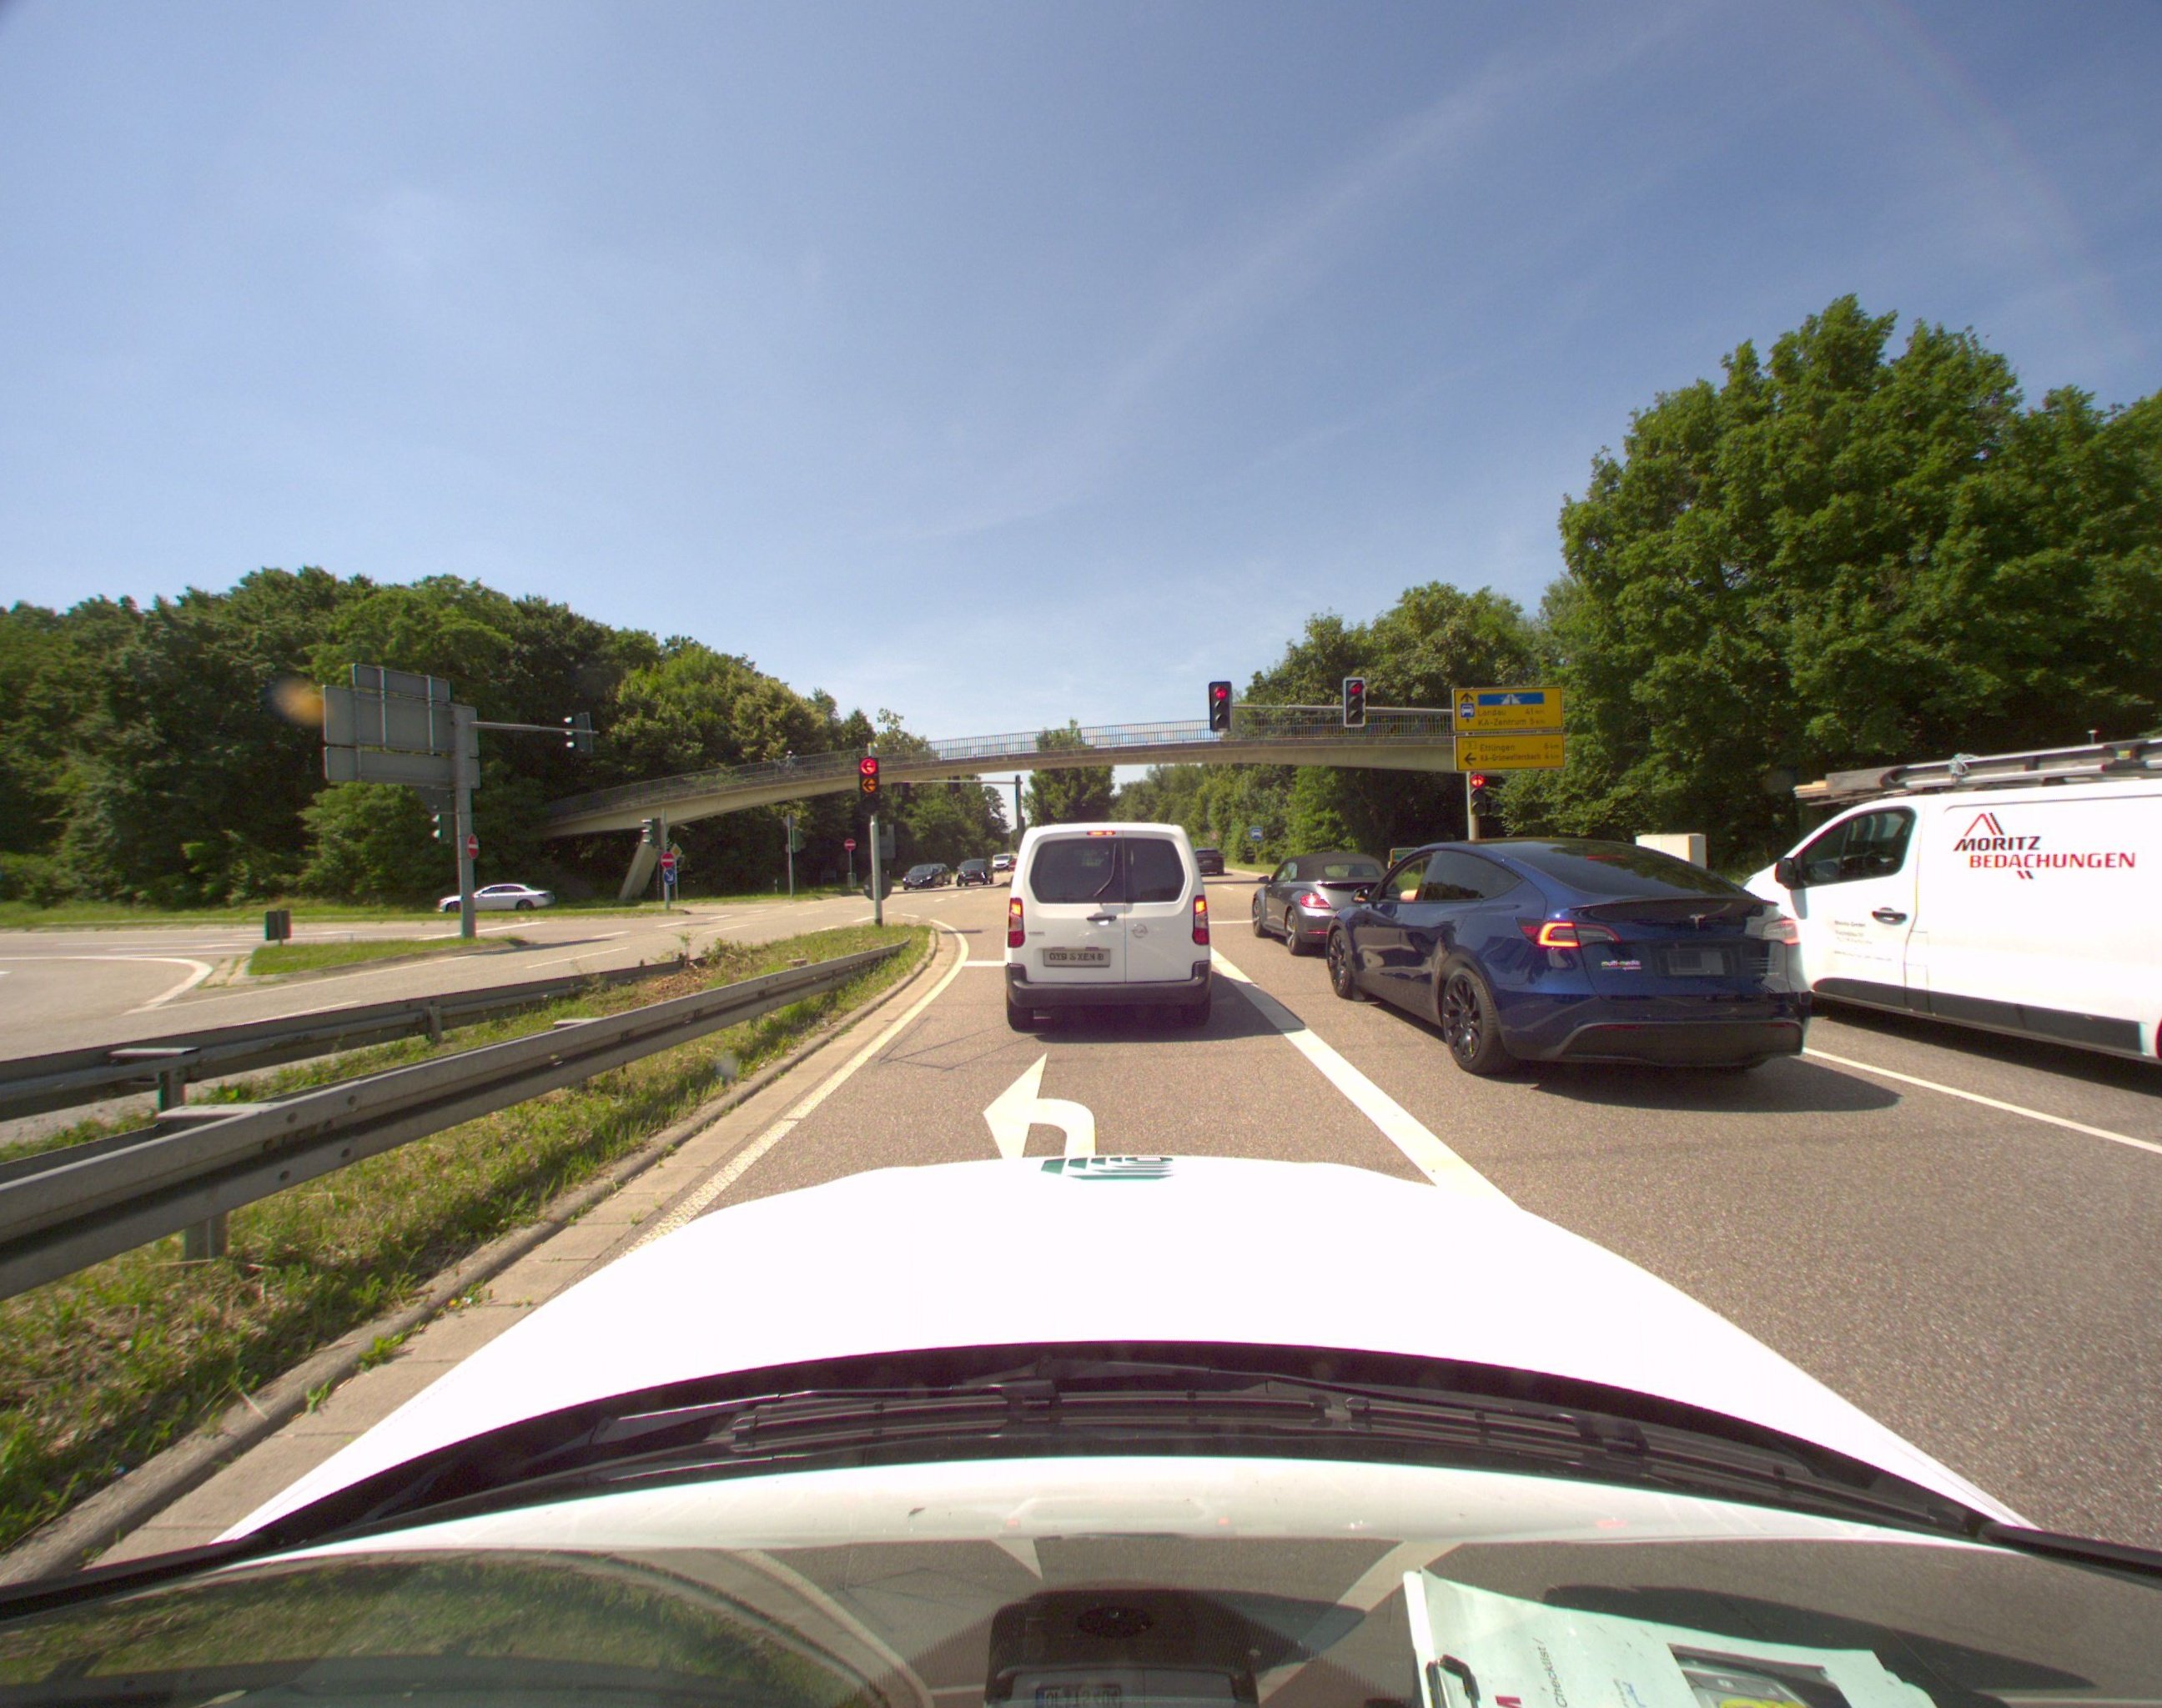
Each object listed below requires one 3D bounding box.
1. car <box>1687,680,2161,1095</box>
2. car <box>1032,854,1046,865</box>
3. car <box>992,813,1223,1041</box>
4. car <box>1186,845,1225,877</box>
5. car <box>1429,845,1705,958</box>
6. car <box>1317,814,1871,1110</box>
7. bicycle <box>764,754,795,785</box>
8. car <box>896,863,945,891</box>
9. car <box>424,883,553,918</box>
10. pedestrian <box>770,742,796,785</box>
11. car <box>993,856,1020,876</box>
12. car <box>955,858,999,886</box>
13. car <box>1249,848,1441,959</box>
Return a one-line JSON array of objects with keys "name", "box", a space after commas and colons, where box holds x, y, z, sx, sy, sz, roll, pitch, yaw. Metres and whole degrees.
[{"name": "car", "box": [7.115, 0.181, 5.776, 1.925, 2.349, 5.076, -1, 0, 1]}, {"name": "car", "box": [-8.320, 1.045, 160.891, 2.200, 1.993, 4.735, -4, 0, 2]}, {"name": "car", "box": [0.251, 0.566, 8.563, 1.843, 1.825, 3.982, -1, 1, 1]}, {"name": "car", "box": [7.405, 0.381, 48.870, 2.031, 1.699, 5.095, -4, 0, 6]}, {"name": "car", "box": [7.382, 0.628, 12.991, 1.893, 1.478, 4.382, -1, 0, 2]}, {"name": "car", "box": [3.523, 0.601, 6.820, 1.893, 1.644, 4.522, -1, 0, 2]}, {"name": "bicycle", "box": [-15.949, -4.447, 43.053, 1.514, 1.474, 0.472, -4, -2, 17]}, {"name": "car", "box": [-9.647, 1.361, 49.280, 2.001, 1.460, 4.057, -4, 0, 2]}, {"name": "car", "box": [-29.222, 2.275, 40.389, 4.787, 1.373, 1.985, -3, 0, -23]}, {"name": "pedestrian", "box": [-15.844, -4.804, 43.287, 0.776, 2.139, 0.936, -4, -2, 17]}, {"name": "car", "box": [-8.105, 1.294, 89.612, 2.200, 1.993, 5.490, -4, 0, 2]}, {"name": "car", "box": [-6.140, 1.028, 48.638, 1.986, 1.523, 4.029, -1, 0, 2]}, {"name": "car", "box": [3.978, 0.668, 13.017, 1.893, 1.478, 3.940, -1, 0, 2]}]
